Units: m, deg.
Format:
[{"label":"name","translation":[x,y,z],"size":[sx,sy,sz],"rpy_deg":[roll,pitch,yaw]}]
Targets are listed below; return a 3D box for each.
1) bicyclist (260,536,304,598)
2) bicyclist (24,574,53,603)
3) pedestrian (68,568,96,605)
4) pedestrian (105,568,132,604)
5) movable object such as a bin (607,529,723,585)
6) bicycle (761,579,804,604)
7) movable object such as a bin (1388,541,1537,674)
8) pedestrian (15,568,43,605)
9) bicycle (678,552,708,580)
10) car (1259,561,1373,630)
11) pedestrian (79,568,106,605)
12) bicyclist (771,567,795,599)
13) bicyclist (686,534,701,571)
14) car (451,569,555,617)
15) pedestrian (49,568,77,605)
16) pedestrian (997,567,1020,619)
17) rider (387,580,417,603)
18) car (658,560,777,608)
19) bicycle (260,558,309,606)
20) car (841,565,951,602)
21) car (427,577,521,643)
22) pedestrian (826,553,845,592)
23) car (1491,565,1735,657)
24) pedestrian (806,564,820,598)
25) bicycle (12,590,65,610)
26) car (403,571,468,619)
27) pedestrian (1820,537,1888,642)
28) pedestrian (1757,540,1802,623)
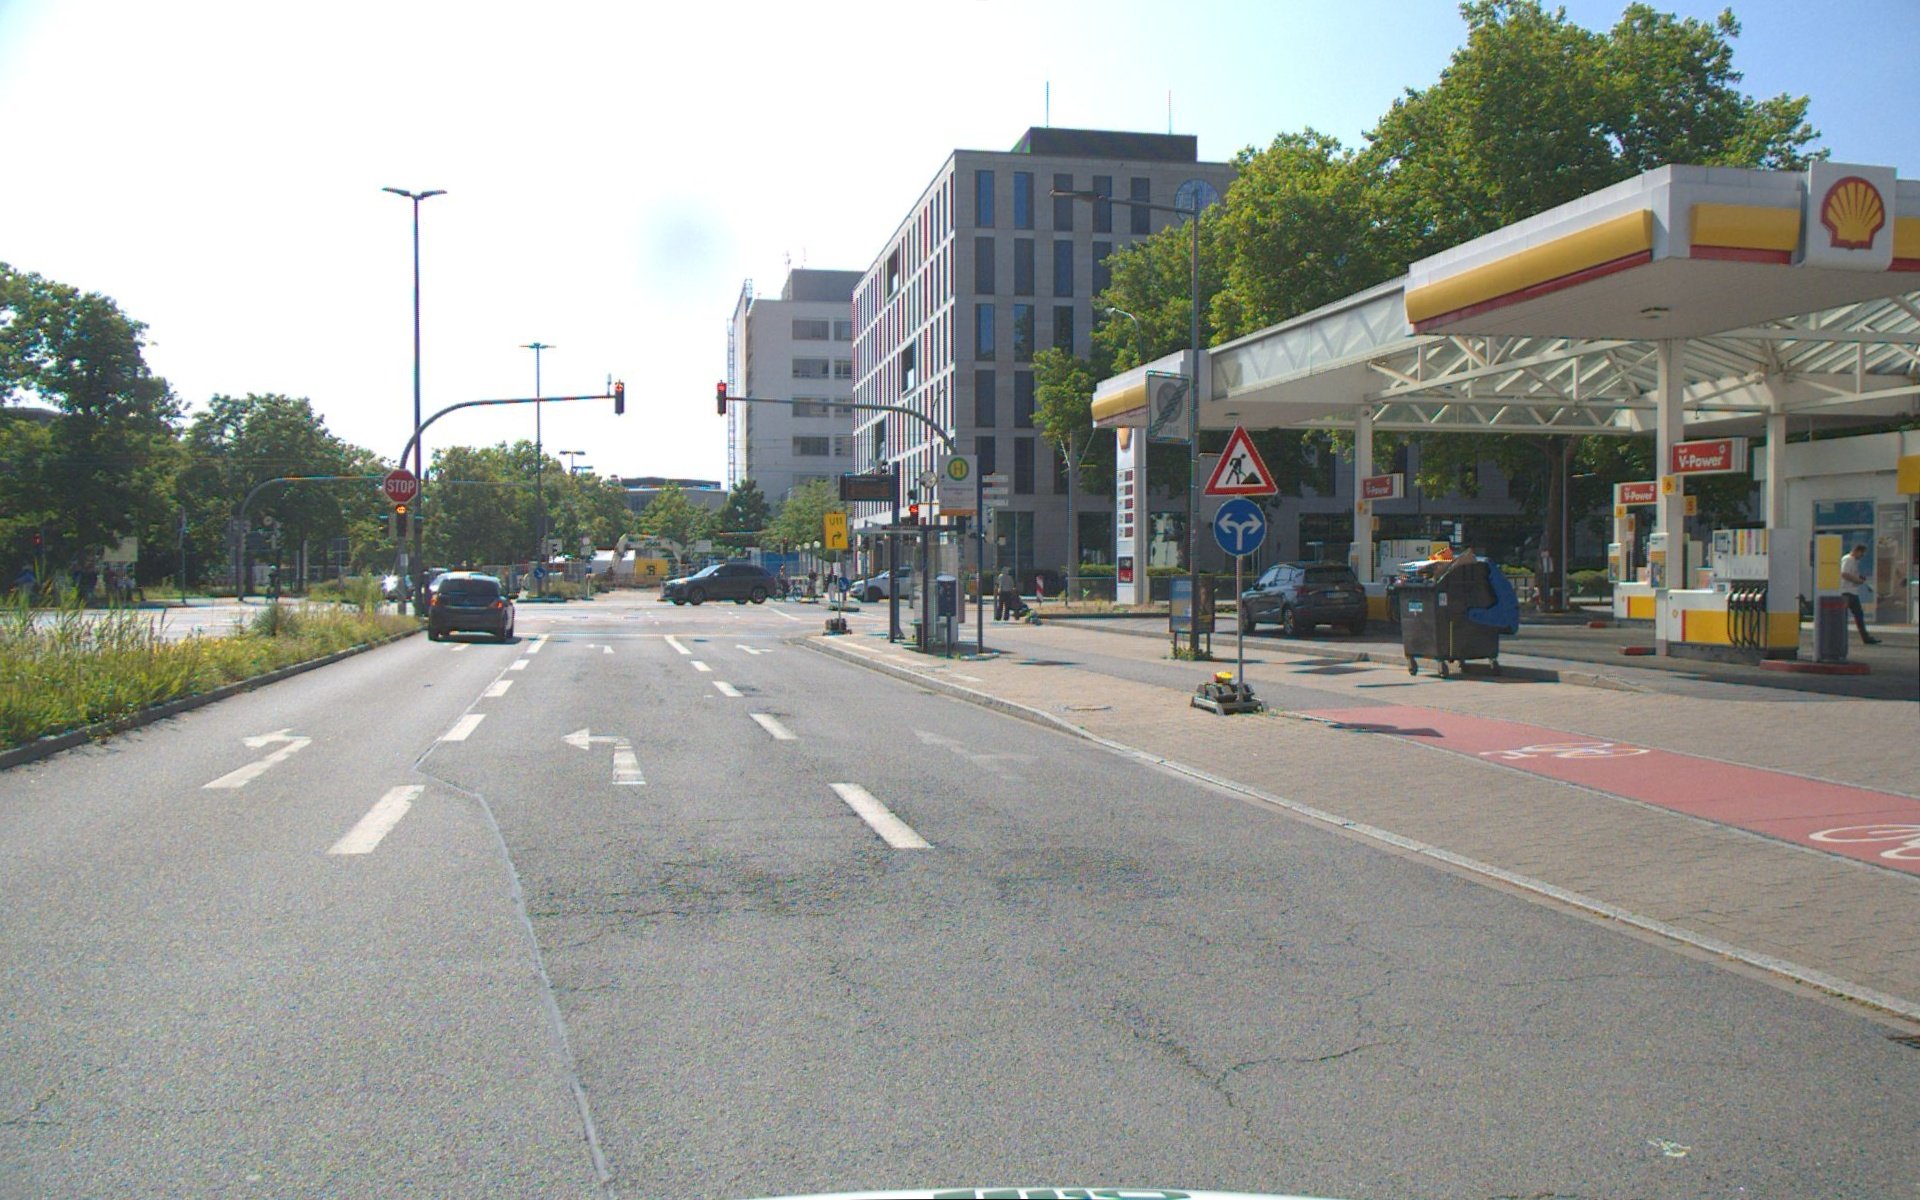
[{"label":"bicyclist","translation":[-33.241,-1.599,81.100],"size":[1.572,2.982,2.346],"rpy_deg":[0,1,-12]},{"label":"bicyclist","translation":[-40.647,-0.507,72.926],"size":[1.036,1.297,0.489],"rpy_deg":[0,1,-21]},{"label":"pedestrian","translation":[-39.850,-0.615,75.069],"size":[0.640,1.639,0.943],"rpy_deg":[0,1,11]},{"label":"pedestrian","translation":[-38.586,-0.626,75.860],"size":[0.652,1.639,0.943],"rpy_deg":[0,1,11]},{"label":"movable object such as a bin","translation":[-24.860,-3.631,139.555],"size":[9.502,4.629,3.156],"rpy_deg":[0,1,-11]},{"label":"bicycle","translation":[-9.293,-0.432,86.627],"size":[2.185,1.307,0.524],"rpy_deg":[0,1,-5]},{"label":"movable object such as a bin","translation":[6.553,0.081,21.647],"size":[1.286,1.619,1.390],"rpy_deg":[-3,1,-15]},{"label":"pedestrian","translation":[-41.772,-0.598,74.204],"size":[0.640,1.639,0.943],"rpy_deg":[0,1,11]},{"label":"bicycle","translation":[-19.266,-2.451,119.435],"size":[2.048,1.996,0.826],"rpy_deg":[0,0,-7]},{"label":"car","translation":[7.710,-0.120,36.136],"size":[1.617,1.422,3.640],"rpy_deg":[0,1,-2]},{"label":"pedestrian","translation":[-39.067,-0.611,74.503],"size":[0.640,1.639,0.943],"rpy_deg":[0,1,11]},{"label":"bicyclist","translation":[-9.266,-0.895,86.625],"size":[1.215,1.702,0.524],"rpy_deg":[0,1,-4]},{"label":"bicyclist","translation":[-19.243,-3.428,119.420],"size":[1.049,2.619,0.826],"rpy_deg":[0,0,-7]},{"label":"car","translation":[-16.697,-0.286,60.706],"size":[1.951,1.667,4.400],"rpy_deg":[0,1,10]},{"label":"pedestrian","translation":[-40.634,-0.612,74.922],"size":[0.640,1.639,0.943],"rpy_deg":[0,1,11]},{"label":"pedestrian","translation":[1.484,-0.225,50.356],"size":[0.608,1.570,0.460],"rpy_deg":[0,1,-14]},{"label":"rider","translation":[-30.357,-0.452,89.986],"size":[1.368,1.216,2.687],"rpy_deg":[0,1,-15]},{"label":"car","translation":[-10.548,-0.709,71.993],"size":[4.797,2.049,1.982],"rpy_deg":[0,1,-27]},{"label":"bicycle","translation":[-33.422,-0.875,81.884],"size":[1.572,2.308,3.988],"rpy_deg":[0,1,-12]},{"label":"car","translation":[-2.969,-0.783,76.053],"size":[4.772,1.665,1.993],"rpy_deg":[0,1,-14]},{"label":"car","translation":[-11.125,0.180,38.020],"size":[1.961,1.422,3.984],"rpy_deg":[0,1,-15]},{"label":"pedestrian","translation":[-6.487,-1.438,85.934],"size":[0.761,2.049,0.777],"rpy_deg":[0,1,16]},{"label":"car","translation":[12.135,0.164,30.791],"size":[3.920,1.609,1.837],"rpy_deg":[-1,1,-15]},{"label":"pedestrian","translation":[-7.809,-1.011,87.701],"size":[0.522,1.802,0.714],"rpy_deg":[0,1,-25]},{"label":"bicycle","translation":[-40.633,-0.002,72.924],"size":[1.970,0.899,0.524],"rpy_deg":[0,1,-21]},{"label":"car","translation":[-18.670,-0.198,59.035],"size":[1.858,1.638,4.503],"rpy_deg":[-1,1,-13]},{"label":"pedestrian","translation":[16.312,-0.200,30.190],"size":[0.736,1.870,0.848],"rpy_deg":[0,1,-34]},{"label":"pedestrian","translation":[18.372,-0.411,37.085],"size":[0.660,1.853,0.630],"rpy_deg":[0,1,-6]}]
